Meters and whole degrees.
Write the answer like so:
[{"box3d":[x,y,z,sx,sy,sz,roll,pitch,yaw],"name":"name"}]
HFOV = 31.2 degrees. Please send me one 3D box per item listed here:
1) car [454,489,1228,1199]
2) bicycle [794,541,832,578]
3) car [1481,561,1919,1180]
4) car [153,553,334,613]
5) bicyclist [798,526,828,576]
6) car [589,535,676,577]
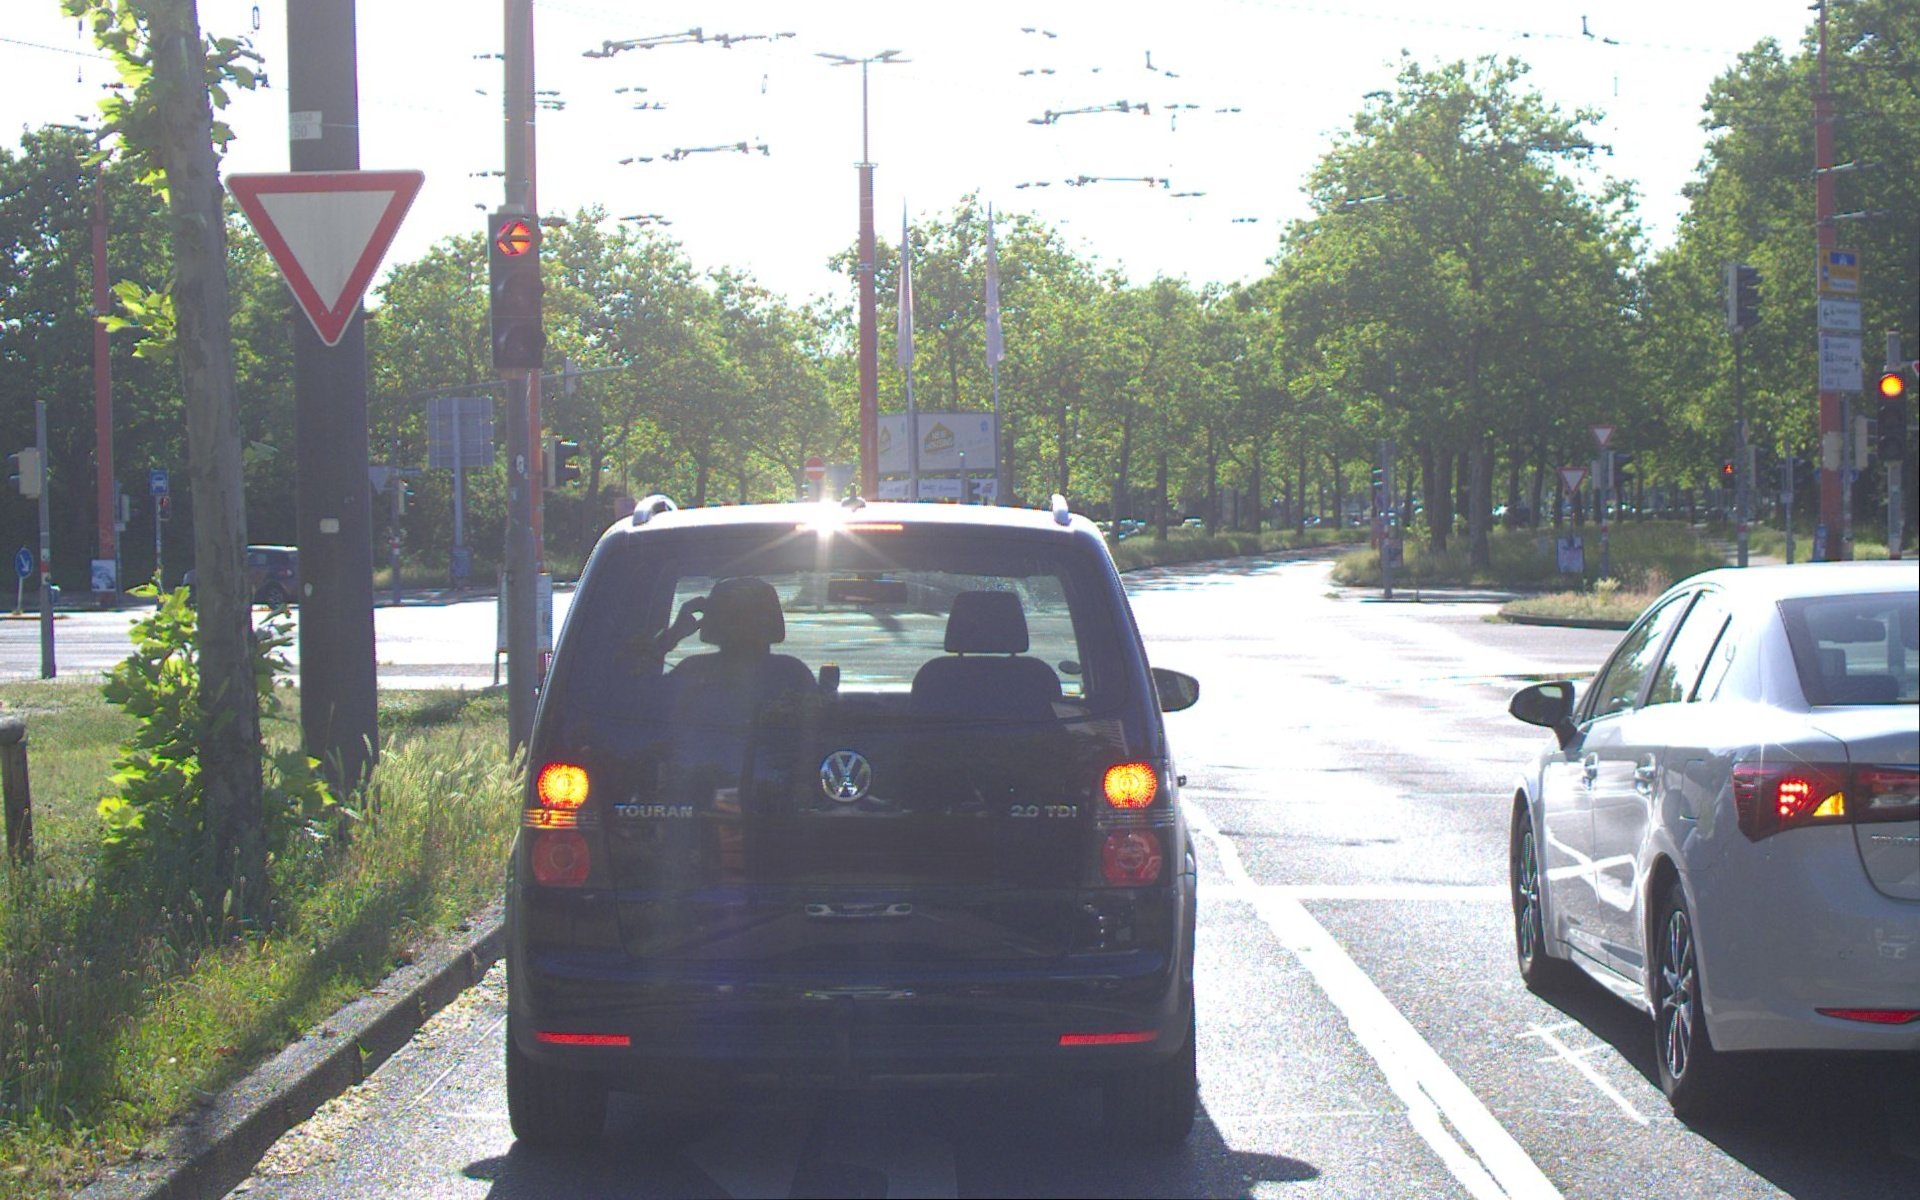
[{"box3d":[-0.252,0.537,9.975,1.738,1.597,4.326,1,1,1],"name":"car"},{"box3d":[-5.632,-1.550,131.656,0.976,1.384,2.979,0,1,7],"name":"bicycle"},{"box3d":[2.758,0.618,10.153,1.799,1.435,4.326,1,1,1],"name":"car"},{"box3d":[-17.319,-0.434,83.095,4.124,1.398,1.654,1,1,25],"name":"car"},{"box3d":[-5.626,-1.891,131.691,0.976,1.897,1.050,0,1,7],"name":"bicyclist"},{"box3d":[-11.042,-1.506,116.236,1.652,1.398,4.130,0,1,14],"name":"car"}]
